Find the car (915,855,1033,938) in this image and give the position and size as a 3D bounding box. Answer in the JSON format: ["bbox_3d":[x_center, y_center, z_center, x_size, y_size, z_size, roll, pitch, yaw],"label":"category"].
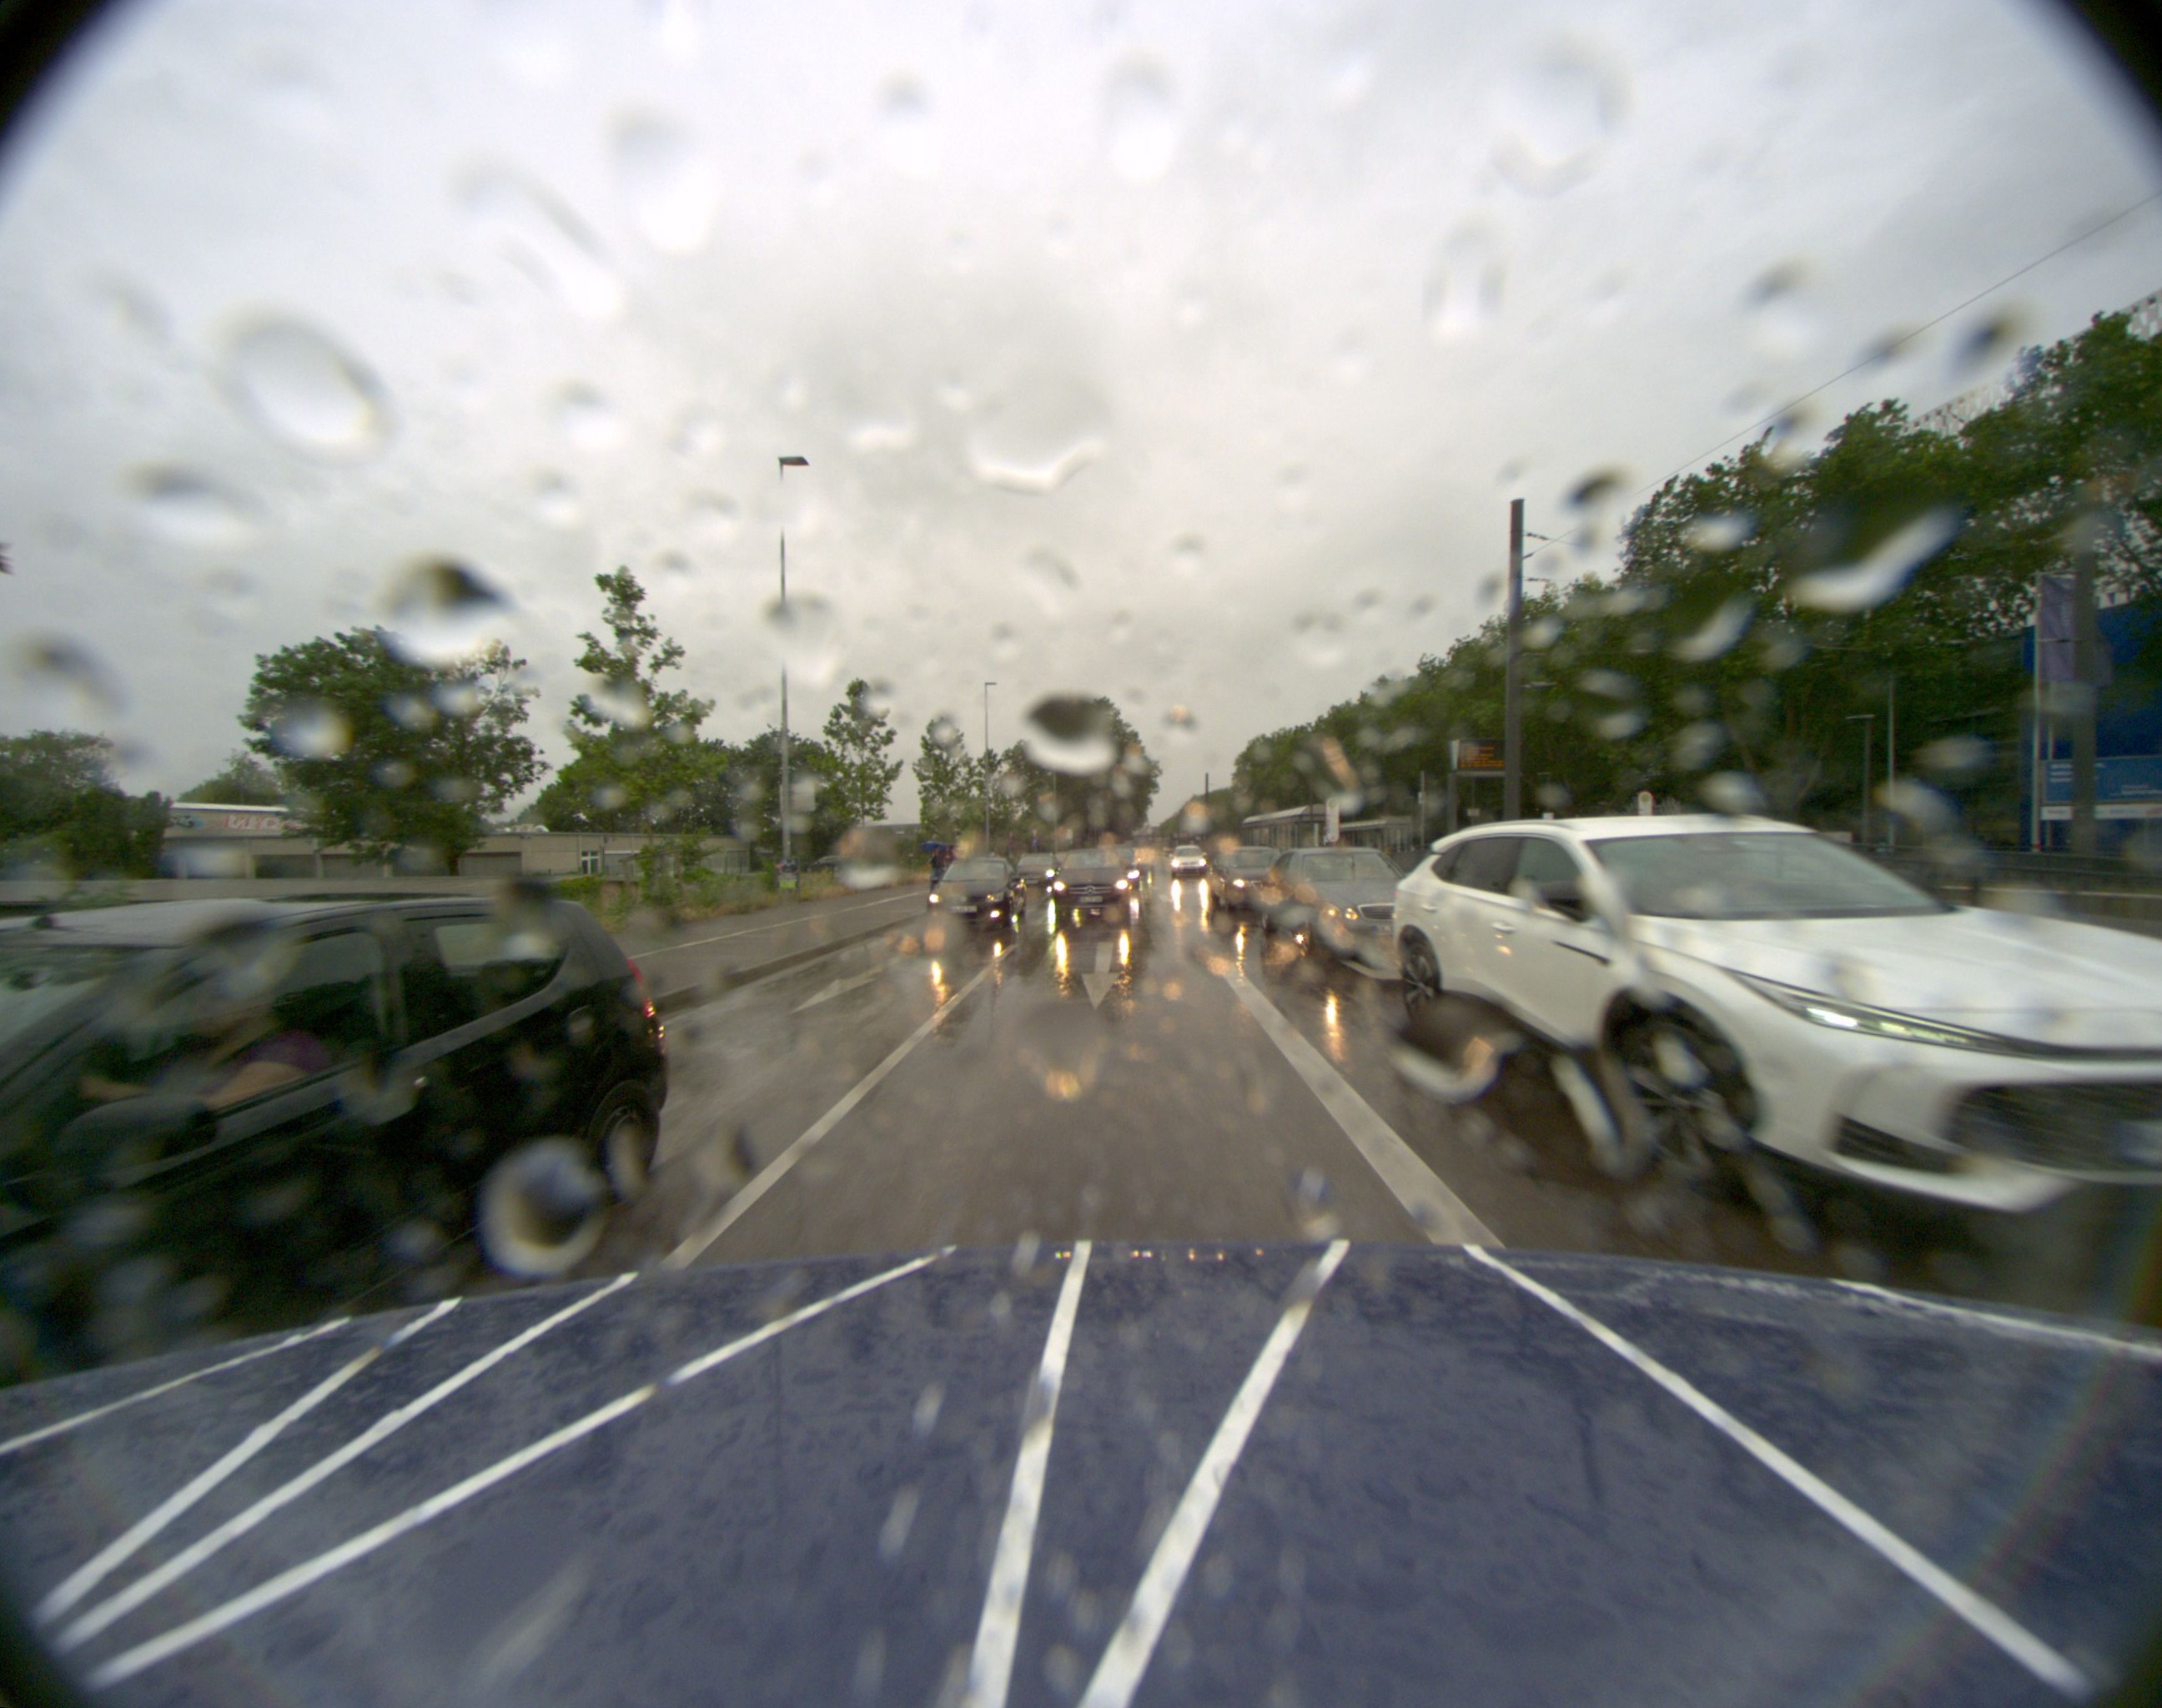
[{"bbox_3d":[-2.108,0.802,16.116,1.715,1.476,4.044,-2,-1,2],"label":"car"}]

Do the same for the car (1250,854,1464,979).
[{"bbox_3d":[3.835,0.756,11.473,1.715,1.405,4.698,-2,0,3],"label":"car"}]

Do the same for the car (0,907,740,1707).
[{"bbox_3d":[-2.960,1.040,2.291,1.776,1.453,4.093,-2,-1,3],"label":"car"}]

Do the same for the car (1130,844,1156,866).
[{"bbox_3d":[4.525,0.081,56.239,1.715,1.515,4.044,-2,-1,2],"label":"car"}]

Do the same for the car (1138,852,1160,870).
[{"bbox_3d":[5.872,0.605,66.011,1.715,1.515,4.044,-2,-1,2],"label":"car"}]

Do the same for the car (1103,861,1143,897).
[{"bbox_3d":[1.925,1.105,35.188,1.715,1.515,4.044,-2,-1,2],"label":"car"}]

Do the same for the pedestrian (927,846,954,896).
[{"bbox_3d":[-4.574,0.547,24.789,0.734,1.602,0.618,0,2,2],"label":"pedestrian"}]

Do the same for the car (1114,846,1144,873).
[{"bbox_3d":[2.887,0.325,46.404,1.715,1.515,4.044,-2,-1,2],"label":"car"}]

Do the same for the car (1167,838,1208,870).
[{"bbox_3d":[5.536,0.035,39.936,1.715,1.515,4.044,-2,-1,2],"label":"car"}]

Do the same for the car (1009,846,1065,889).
[{"bbox_3d":[-1.631,0.513,29.660,1.715,1.515,4.044,-2,-1,2],"label":"car"}]

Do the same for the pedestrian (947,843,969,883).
[{"bbox_3d":[-4.943,0.363,30.494,0.734,1.602,0.650,0,2,2],"label":"pedestrian"}]

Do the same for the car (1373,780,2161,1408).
[{"bbox_3d":[3.515,0.654,4.410,1.993,1.778,4.553,-2,0,2],"label":"car"}]

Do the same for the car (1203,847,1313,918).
[{"bbox_3d":[4.201,0.603,18.813,1.752,1.466,4.697,-2,0,2],"label":"car"}]

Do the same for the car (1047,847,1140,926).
[{"bbox_3d":[0.305,0.703,17.826,1.876,1.573,4.044,-2,-1,1],"label":"car"}]

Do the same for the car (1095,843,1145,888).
[{"bbox_3d":[1.488,0.424,28.998,1.715,1.515,4.044,-2,-1,2],"label":"car"}]

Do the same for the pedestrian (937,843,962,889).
[{"bbox_3d":[-4.667,0.409,27.018,0.734,1.602,0.576,0,2,2],"label":"pedestrian"}]

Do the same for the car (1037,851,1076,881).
[{"bbox_3d":[-1.275,0.635,41.345,1.715,1.515,4.179,-2,-1,2],"label":"car"}]
